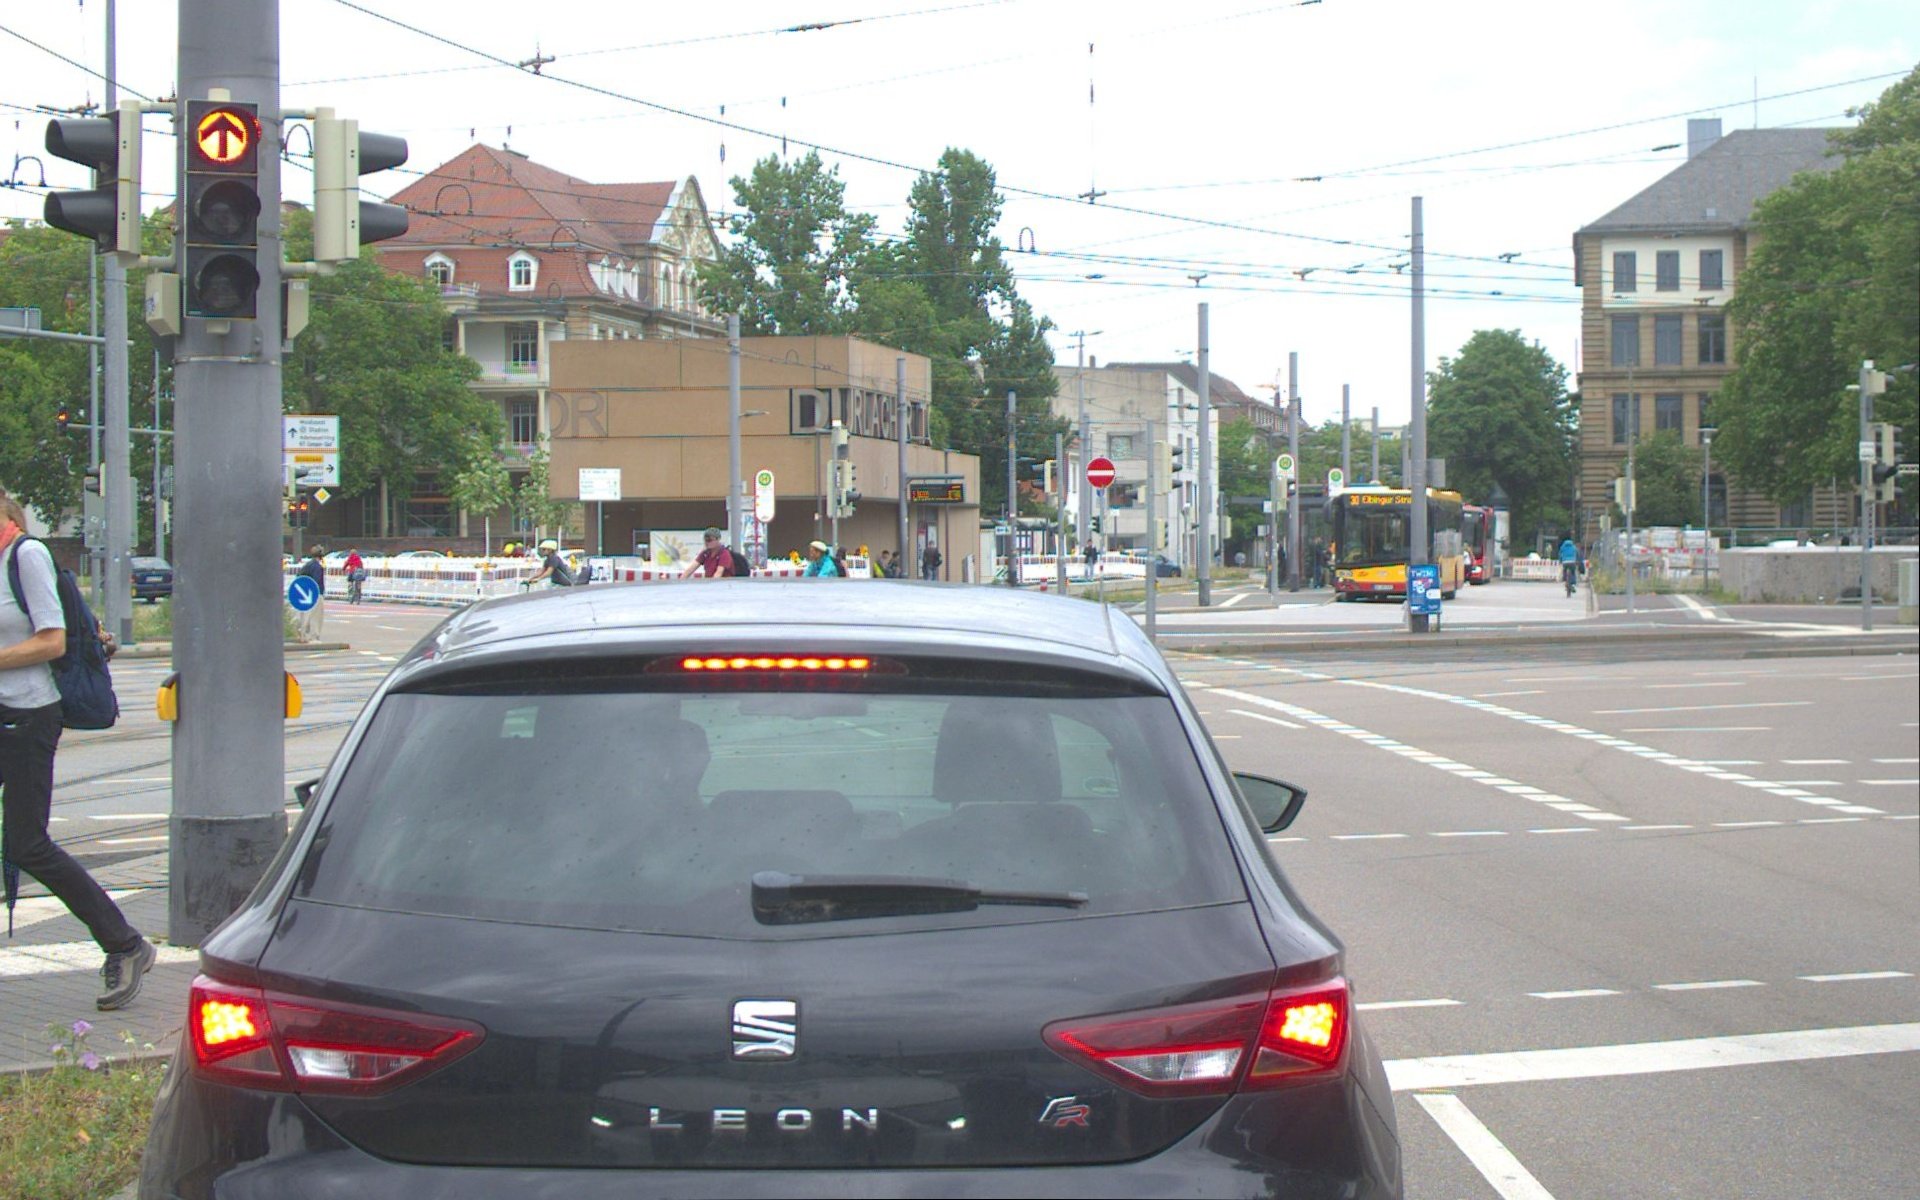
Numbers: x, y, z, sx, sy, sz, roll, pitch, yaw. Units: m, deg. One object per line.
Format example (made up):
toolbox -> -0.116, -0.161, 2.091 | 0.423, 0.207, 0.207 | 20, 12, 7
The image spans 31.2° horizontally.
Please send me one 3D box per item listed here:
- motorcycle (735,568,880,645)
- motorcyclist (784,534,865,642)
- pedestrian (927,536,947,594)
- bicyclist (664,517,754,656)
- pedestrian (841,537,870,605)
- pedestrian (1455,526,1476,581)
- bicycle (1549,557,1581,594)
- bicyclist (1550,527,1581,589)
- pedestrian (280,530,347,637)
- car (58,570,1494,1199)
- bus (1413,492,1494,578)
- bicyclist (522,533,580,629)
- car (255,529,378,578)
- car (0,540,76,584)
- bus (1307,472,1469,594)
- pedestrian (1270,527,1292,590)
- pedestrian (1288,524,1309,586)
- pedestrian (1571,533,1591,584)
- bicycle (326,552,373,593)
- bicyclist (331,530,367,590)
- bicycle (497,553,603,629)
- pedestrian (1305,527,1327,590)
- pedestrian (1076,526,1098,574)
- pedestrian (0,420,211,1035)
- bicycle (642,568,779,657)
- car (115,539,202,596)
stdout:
motorcycle -> -2.335, 0.086, 52.703 | 2.135, 1.135, 0.744 | -1, 1, -33
motorcyclist -> -2.082, -0.188, 52.846 | 0.977, 1.644, 0.750 | -1, 0, -33
pedestrian -> -0.758, -1.159, 113.098 | 0.621, 1.911, 0.710 | 0, 1, 3
bicyclist -> -3.473, -0.192, 47.574 | 0.777, 1.891, 0.995 | 0, 1, 35
pedestrian -> -2.956, -0.819, 97.371 | 0.708, 1.911, 0.623 | 0, 1, 7
pedestrian -> 18.514, -1.688, 125.829 | 0.662, 2.007, 0.692 | 0, 1, 0
bicycle -> 18.267, -0.753, 103.772 | 0.866, 1.101, 2.301 | 0, 1, 12
bicyclist -> 18.279, -1.269, 103.828 | 0.872, 1.845, 1.047 | 0, 1, 12
pedestrian -> -11.733, -0.306, 62.415 | 1.027, 1.927, 0.701 | -1, 1, -25
car -> -0.354, 0.689, 5.993 | 1.704, 1.444, 3.813 | 0, 1, -4
bus -> 19.665, -2.577, 136.660 | 2.655, 3.272, 10.990 | 0, 1, 11
bicyclist -> -7.156, -0.343, 60.163 | 0.854, 1.667, 0.654 | -1, 1, -21
car -> -23.025, -1.668, 123.028 | 3.987, 1.678, 2.000 | -1, 0, 1
car -> -38.296, -1.554, 140.663 | 3.986, 1.766, 1.717 | 0, 1, -10
bus -> 11.759, -1.813, 93.450 | 2.962, 3.112, 11.531 | 0, 1, 14
pedestrian -> 9.721, -1.250, 104.001 | 0.621, 1.911, 0.698 | 0, 1, 9
pedestrian -> 10.397, -1.385, 105.577 | 0.621, 1.911, 0.710 | 0, 1, 3
pedestrian -> 24.620, -1.634, 136.392 | 0.662, 2.007, 0.692 | 0, 1, 0
bicycle -> -17.890, -0.800, 100.733 | 0.891, 1.174, 2.302 | 0, 1, -22
bicyclist -> -17.891, -1.177, 100.713 | 0.882, 1.726, 0.894 | 0, 1, -22
bicycle -> -7.171, -0.164, 60.169 | 1.730, 1.317, 0.645 | -1, 1, -21
pedestrian -> 10.840, -1.265, 104.572 | 0.621, 1.911, 0.698 | 0, 1, 9
pedestrian -> 5.089, -2.021, 138.046 | 0.622, 1.911, 0.709 | -1, 0, 25
pedestrian -> -3.080, 0.391, 11.018 | 1.101, 1.900, 0.735 | 0, 0, -43
bicycle -> -3.445, 0.157, 47.602 | 0.776, 1.180, 2.028 | 0, 1, 35
car -> -24.447, -0.983, 104.761 | 1.993, 1.678, 4.001 | 0, 0, -22
